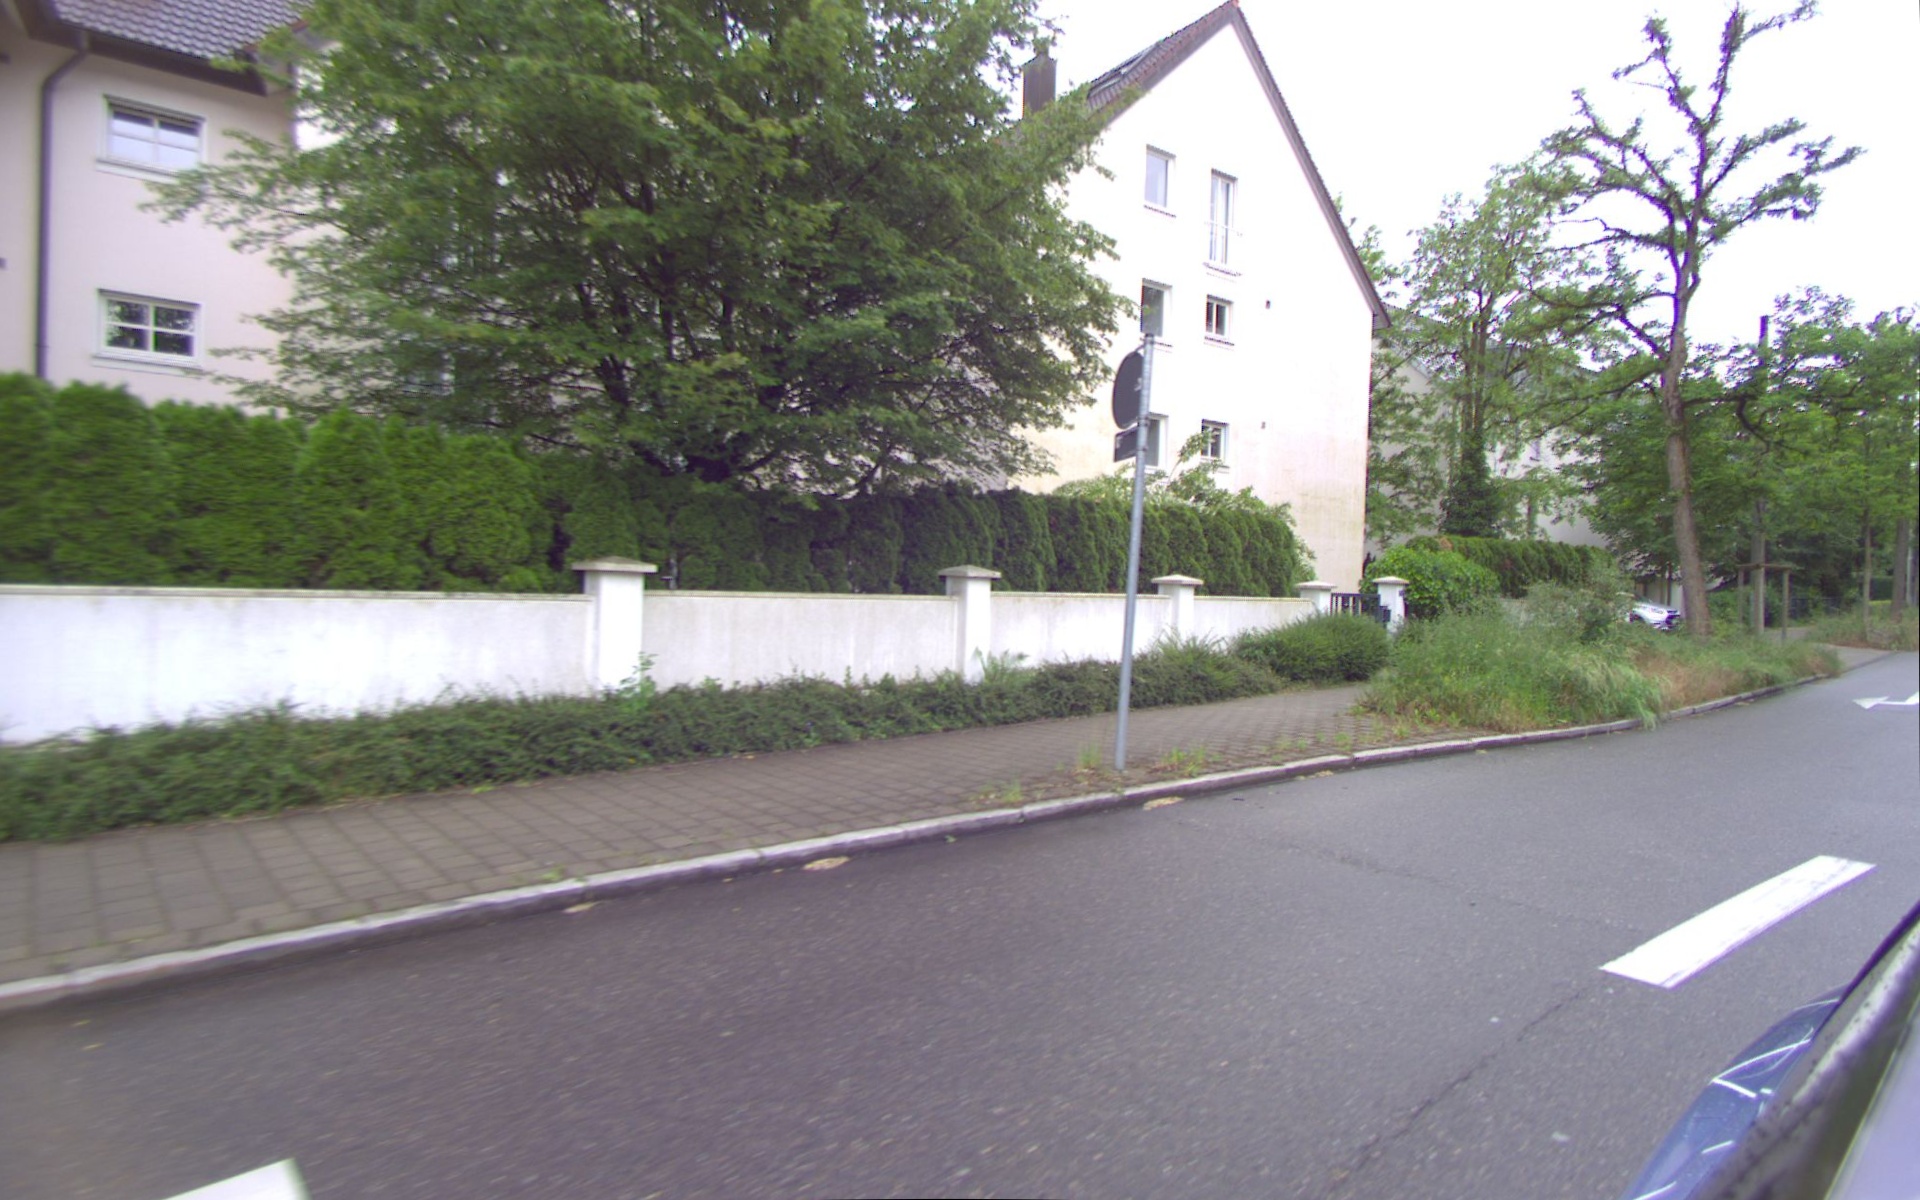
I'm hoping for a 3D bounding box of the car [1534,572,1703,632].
[{"bbox_3d":[21.713,0.020,33.552,1.837,1.840,4.322,0,1,-31],"label":"car"}]
